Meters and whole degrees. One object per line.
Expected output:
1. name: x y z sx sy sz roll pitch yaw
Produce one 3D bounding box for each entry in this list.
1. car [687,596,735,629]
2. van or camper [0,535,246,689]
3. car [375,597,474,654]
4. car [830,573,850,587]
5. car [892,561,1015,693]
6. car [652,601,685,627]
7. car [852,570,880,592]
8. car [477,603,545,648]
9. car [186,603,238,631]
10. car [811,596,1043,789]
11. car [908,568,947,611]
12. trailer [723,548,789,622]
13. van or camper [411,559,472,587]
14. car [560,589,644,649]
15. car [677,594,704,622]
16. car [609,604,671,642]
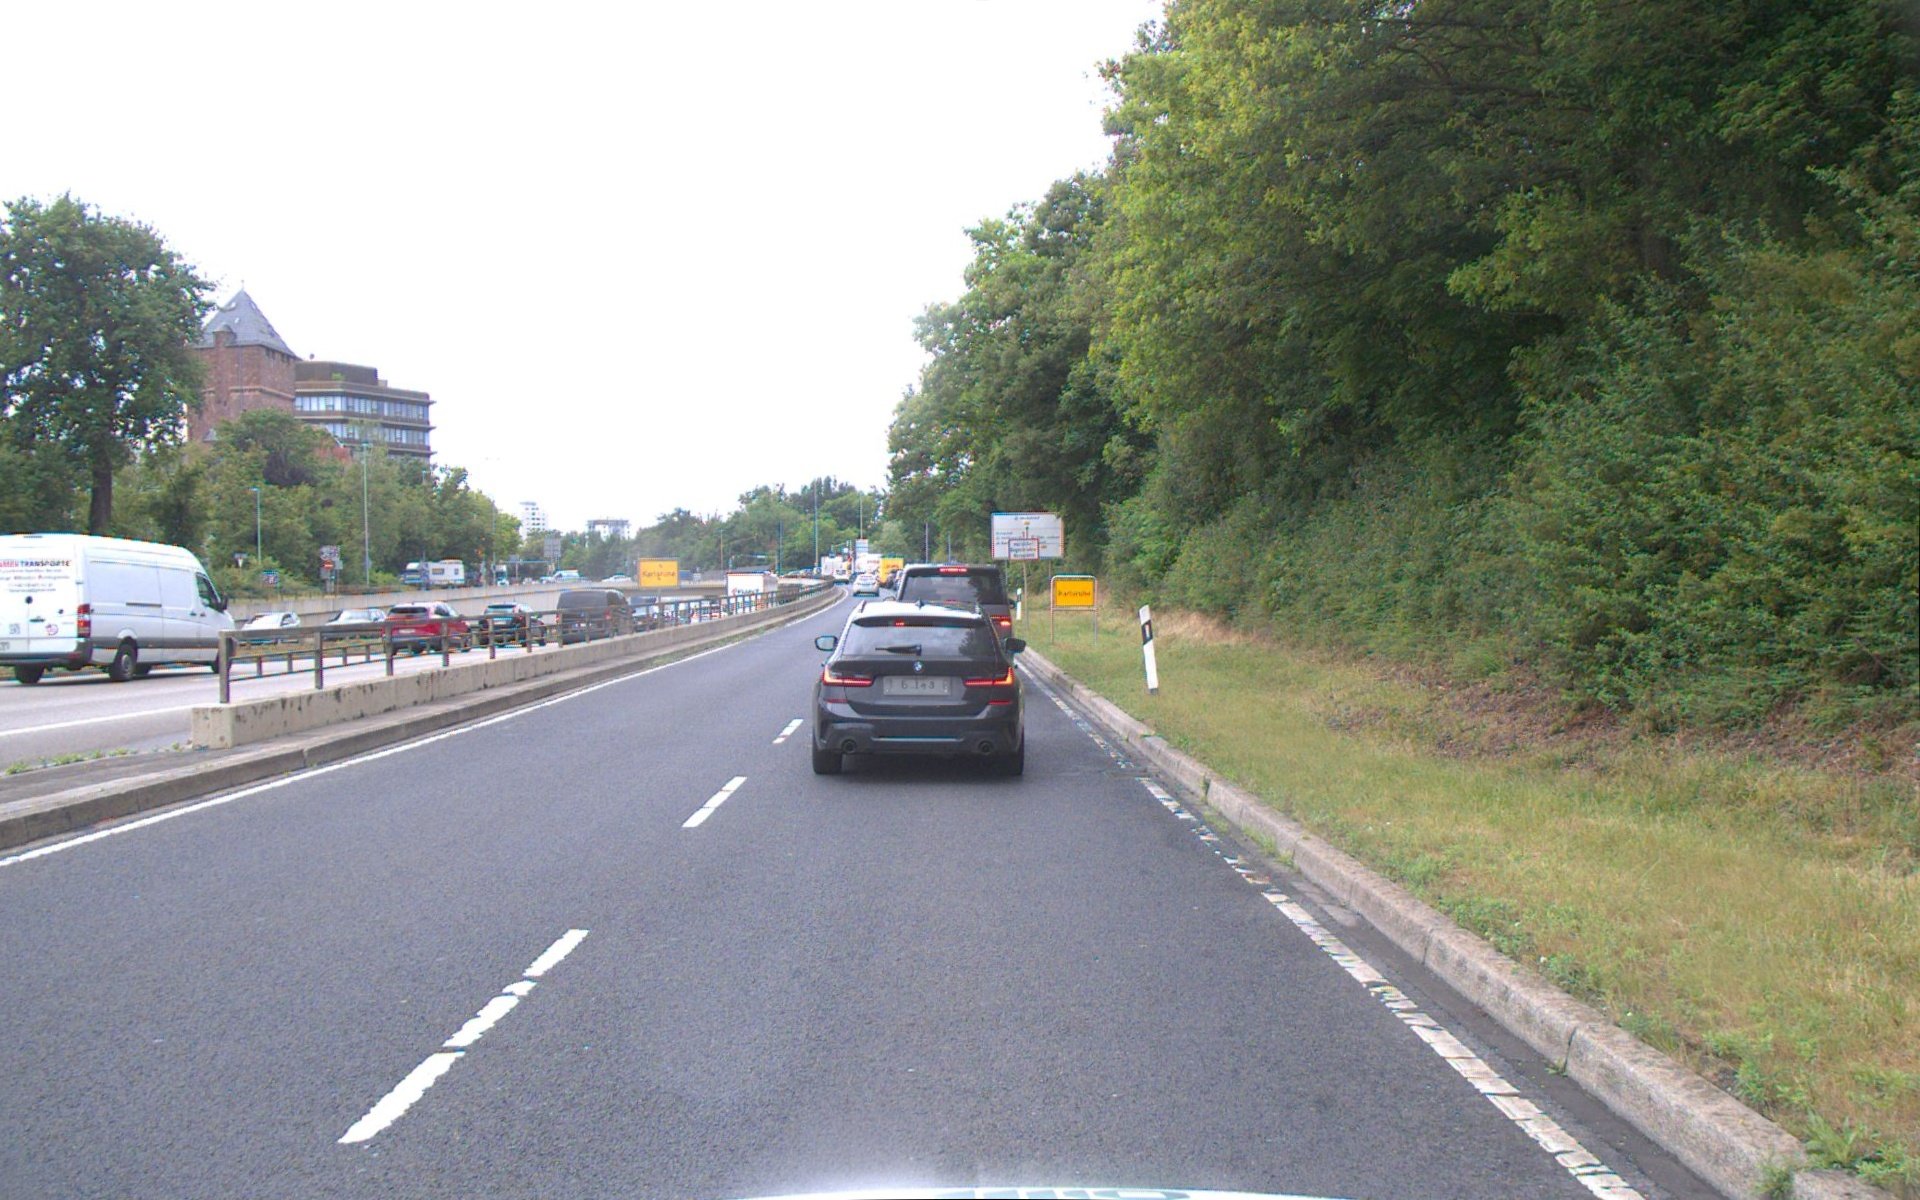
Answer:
1. car: -13.310 0.658 88.700 1.906 1.721 4.506 0 0 -1
2. van or camper: -16.407 0.200 32.386 2.008 2.667 6.954 -1 0 -2
3. car: -16.912 0.770 52.439 1.852 1.711 4.304 0 0 -2
4. car: -13.732 -2.292 189.499 1.895 1.624 3.868 0 0 -9
5. car: -0.124 0.382 25.854 1.759 1.904 3.999 0 0 -1
6. car: -19.521 0.901 110.933 1.654 1.660 3.733 1 0 -2
7. car: -6.637 -1.311 117.345 1.821 1.489 4.882 0 0 -2
8. car: -17.267 0.965 63.800 1.653 1.636 4.006 1 0 -2
9. car: -38.248 0.845 84.608 1.307 1.399 3.171 0 0 -2
10. car: -0.350 0.719 14.920 1.809 1.492 3.998 0 0 -3
11. car: -1.223 -0.389 62.433 1.423 1.567 3.224 0 0 -1
12. trailer: -14.204 -1.002 116.327 3.069 4.807 14.554 1 0 -1
13. van or camper: -52.521 -2.713 167.600 1.888 2.683 5.625 1 0 43
14. car: -11.848 0.597 55.048 1.953 1.883 4.809 0 0 -3
15. car: -20.036 0.588 122.970 1.414 2.080 3.680 0 0 0
16. car: -13.156 0.935 68.312 1.678 1.482 4.666 0 0 0
